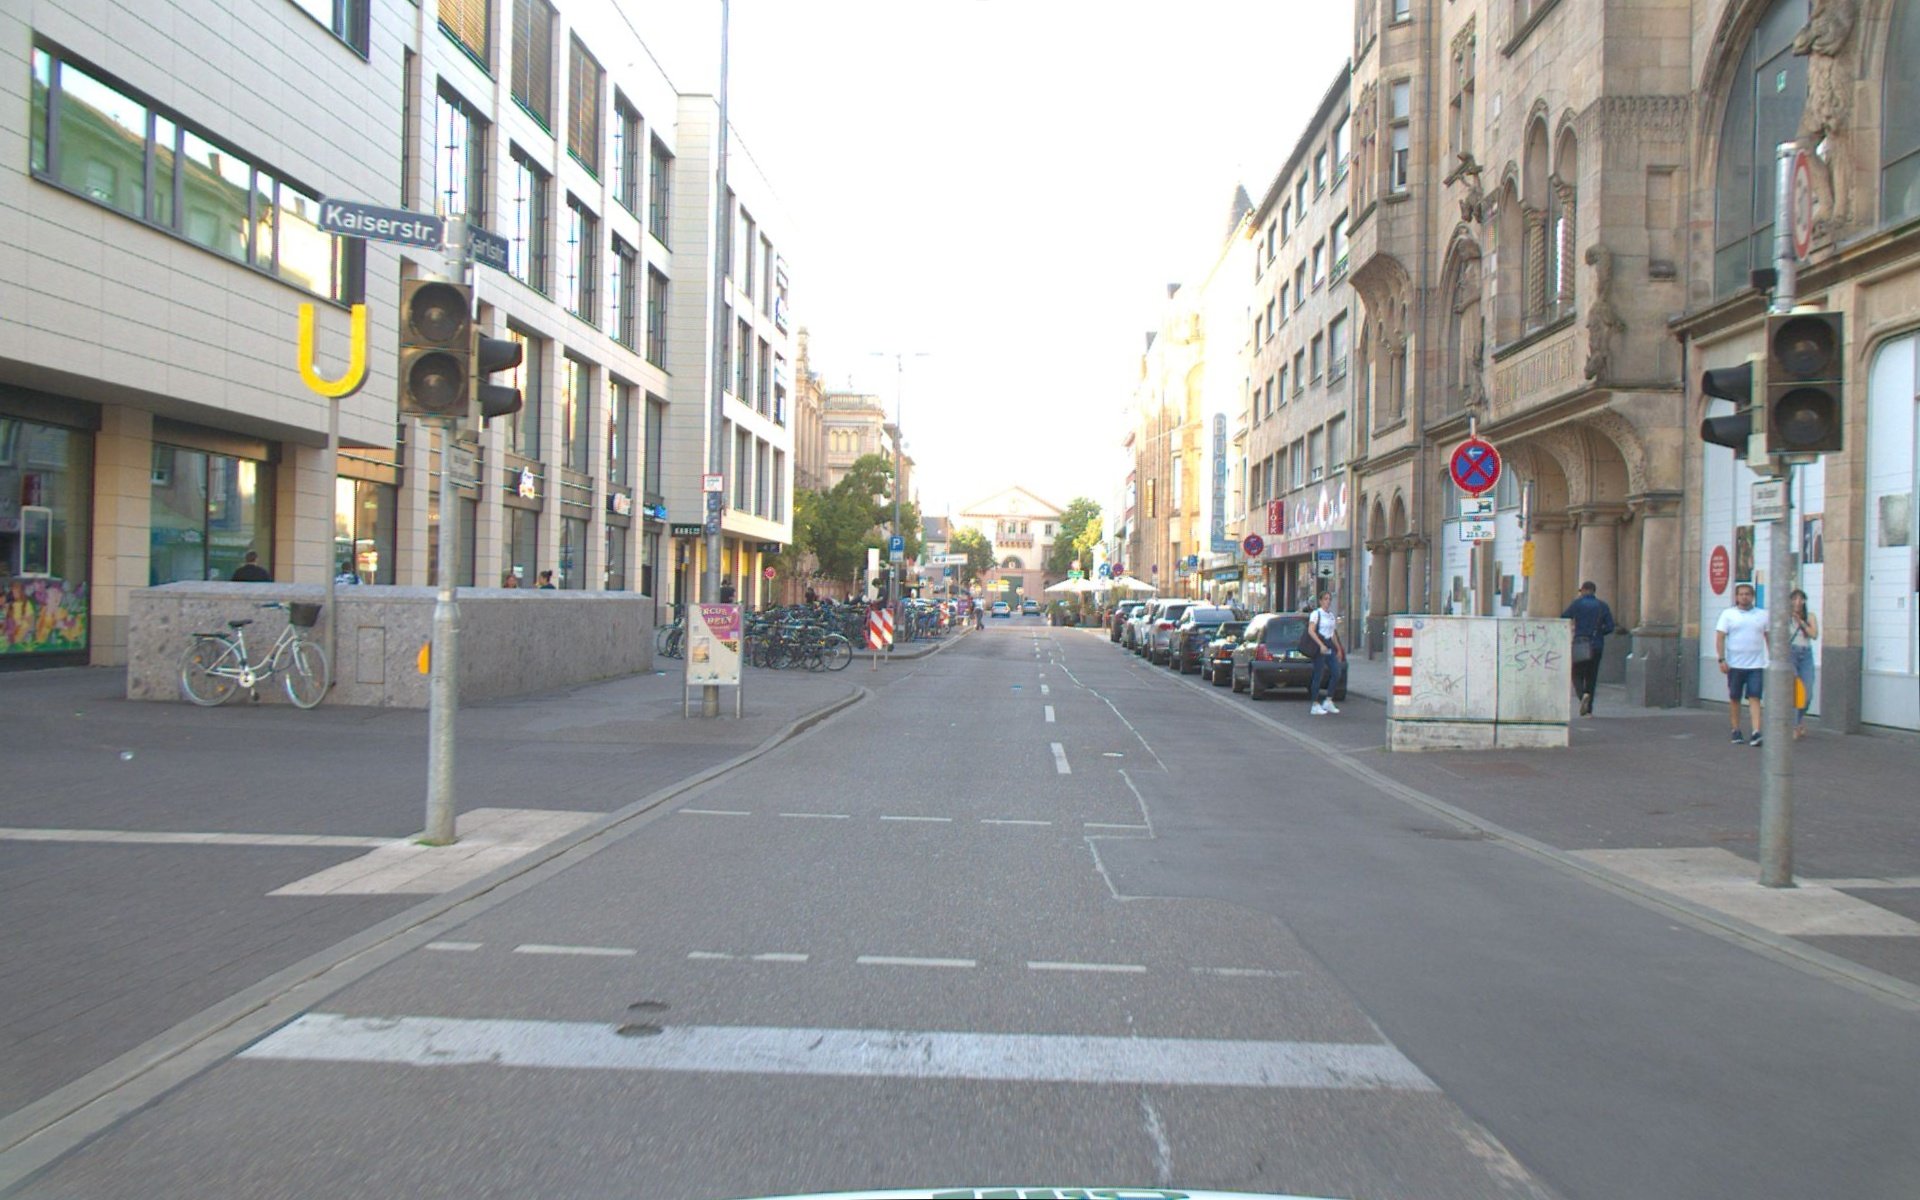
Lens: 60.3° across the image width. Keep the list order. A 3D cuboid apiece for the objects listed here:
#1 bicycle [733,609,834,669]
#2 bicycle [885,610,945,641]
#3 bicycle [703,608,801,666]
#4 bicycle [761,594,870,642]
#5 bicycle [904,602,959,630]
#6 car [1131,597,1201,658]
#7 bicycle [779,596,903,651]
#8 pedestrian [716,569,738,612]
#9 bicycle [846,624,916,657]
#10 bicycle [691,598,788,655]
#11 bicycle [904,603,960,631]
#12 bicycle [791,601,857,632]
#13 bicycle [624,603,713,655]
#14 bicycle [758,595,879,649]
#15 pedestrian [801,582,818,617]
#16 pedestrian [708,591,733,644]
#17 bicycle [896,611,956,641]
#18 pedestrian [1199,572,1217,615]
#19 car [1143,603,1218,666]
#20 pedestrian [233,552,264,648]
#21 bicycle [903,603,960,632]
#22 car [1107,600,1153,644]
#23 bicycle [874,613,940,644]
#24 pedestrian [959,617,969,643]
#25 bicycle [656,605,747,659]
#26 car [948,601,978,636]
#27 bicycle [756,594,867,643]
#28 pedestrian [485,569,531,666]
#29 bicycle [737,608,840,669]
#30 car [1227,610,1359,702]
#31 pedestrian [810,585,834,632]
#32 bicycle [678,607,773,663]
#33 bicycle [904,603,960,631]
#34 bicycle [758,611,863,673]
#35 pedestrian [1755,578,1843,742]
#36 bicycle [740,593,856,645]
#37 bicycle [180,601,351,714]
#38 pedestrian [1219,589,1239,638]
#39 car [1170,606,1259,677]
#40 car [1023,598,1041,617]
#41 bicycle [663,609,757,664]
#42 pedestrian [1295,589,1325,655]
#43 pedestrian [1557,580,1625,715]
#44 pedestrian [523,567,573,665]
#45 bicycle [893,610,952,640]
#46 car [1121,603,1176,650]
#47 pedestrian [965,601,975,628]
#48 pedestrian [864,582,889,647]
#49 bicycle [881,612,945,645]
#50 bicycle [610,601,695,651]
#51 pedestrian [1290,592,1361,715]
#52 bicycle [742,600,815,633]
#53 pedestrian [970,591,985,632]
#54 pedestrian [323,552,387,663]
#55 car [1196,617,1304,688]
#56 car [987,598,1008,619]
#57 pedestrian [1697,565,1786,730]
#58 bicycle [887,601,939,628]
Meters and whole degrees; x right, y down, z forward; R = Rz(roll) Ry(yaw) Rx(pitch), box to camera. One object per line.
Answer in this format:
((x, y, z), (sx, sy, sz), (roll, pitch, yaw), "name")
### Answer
((-3.599, 0.807, 33.796), (1.943, 1.141, 0.553), (3, 0, -27), "bicycle")
((-1.612, 0.929, 59.855), (2.103, 1.047, 0.641), (1, 0, 4), "bicycle")
((-4.354, 0.780, 34.705), (1.943, 1.141, 0.553), (3, 0, -27), "bicycle")
((-3.944, 0.498, 45.166), (2.849, 1.277, 0.798), (1, 0, -24), "bicycle")
((-1.112, 0.644, 65.497), (2.103, 1.047, 0.641), (1, 0, 4), "bicycle")
((6.336, 0.818, 51.184), (1.762, 1.799, 4.399), (0, 0, 2), "car")
((-2.824, 0.568, 39.400), (2.849, 1.277, 0.798), (1, 0, -24), "bicycle")
((-9.119, -0.373, 64.787), (0.716, 1.649, 0.661), (1, 0, 2), "pedestrian")
((-2.452, 1.248, 51.345), (2.103, 0.970, 0.641), (1, 0, 4), "bicycle")
((-4.717, 0.569, 35.362), (1.943, 1.141, 0.553), (3, 0, -27), "bicycle")
((-1.085, 0.648, 64.770), (2.103, 1.047, 0.641), (1, 0, 4), "bicycle")
((-4.501, 0.531, 54.823), (2.103, 0.970, 0.641), (1, 0, 4), "bicycle")
((-6.825, 0.685, 38.782), (1.943, 1.141, 0.553), (3, 0, -27), "bicycle")
((-3.461, 0.534, 40.508), (2.849, 1.277, 0.798), (1, 0, -24), "bicycle")
((-7.100, -0.024, 78.007), (0.665, 1.649, 0.574), (1, 0, 2), "pedestrian")
((-7.566, 0.547, 52.292), (0.665, 1.649, 0.574), (1, 0, 2), "pedestrian")
((-1.244, 0.945, 60.633), (2.103, 1.047, 0.641), (1, 0, 4), "bicycle")
((10.396, -0.254, 69.253), (0.630, 1.776, 0.671), (1, 0, 0), "pedestrian")
((5.966, 0.898, 45.087), (1.644, 1.641, 4.029), (0, 0, 2), "car")
((-11.547, -0.006, 26.832), (0.384, 1.541, 0.503), (1, 0, -19), "pedestrian")
((-1.088, 0.652, 62.963), (2.103, 1.047, 0.641), (1, 0, 4), "bicycle")
((6.879, 0.871, 67.214), (1.644, 1.695, 3.674), (0, 0, 2), "car")
((-1.737, 0.938, 54.743), (2.103, 0.970, 0.641), (1, 0, 4), "bicycle")
((0.253, 1.752, 96.749), (0.538, 1.512, 0.565), (1, 0, 0), "pedestrian")
((-5.883, 0.734, 37.698), (1.943, 1.141, 0.553), (3, 0, -27), "bicycle")
((0.229, 1.143, 102.056), (1.675, 2.049, 4.001), (1, 0, 2), "car")
((-3.969, 0.500, 44.192), (2.849, 1.277, 0.798), (1, 0, -24), "bicycle")
((-8.071, 0.309, 29.538), (0.587, 1.675, 0.546), (3, 0, -1), "pedestrian")
((-3.429, 0.769, 33.125), (1.943, 1.141, 0.553), (3, 0, -27), "bicycle")
((5.676, 0.913, 28.555), (1.644, 1.449, 3.674), (0, 0, 2), "car")
((-4.622, 0.277, 55.442), (0.736, 1.556, 0.485), (1, 0, 2), "pedestrian")
((-5.093, 0.765, 36.016), (1.943, 1.141, 0.553), (3, 0, -27), "bicycle")
((-1.069, 0.651, 63.733), (2.103, 1.047, 0.641), (1, 0, 4), "bicycle")
((-2.911, 0.822, 32.328), (1.943, 1.141, 0.553), (3, 0, -27), "bicycle")
((9.041, 0.635, 17.843), (0.612, 1.719, 0.626), (1, 0, 0), "pedestrian")
((-4.177, 0.494, 42.725), (2.849, 1.277, 0.798), (1, 0, -24), "bicycle")
((-7.611, 0.621, 18.156), (1.660, 1.141, 0.451), (3, 0, 5), "bicycle")
((10.260, 0.521, 63.003), (0.630, 1.831, 0.671), (1, 0, 0), "pedestrian")
((5.970, 0.948, 39.093), (1.644, 1.574, 3.674), (0, 0, 2), "car")
((7.934, 0.805, 182.753), (1.952, 1.937, 4.001), (3, 0, 2), "car")
((-5.522, 0.815, 36.570), (1.943, 1.141, 0.553), (3, 0, -27), "bicycle")
((9.261, 0.585, 43.806), (0.630, 1.719, 0.671), (1, 0, 0), "pedestrian")
((8.202, 0.607, 21.520), (0.612, 1.719, 0.671), (1, 0, 0), "pedestrian")
((-7.336, 0.279, 29.440), (0.667, 1.710, 0.600), (3, 0, -1), "pedestrian")
((-1.378, 0.936, 61.368), (2.103, 1.047, 0.641), (1, 0, 4), "bicycle")
((6.584, 0.916, 58.067), (1.644, 1.574, 3.674), (0, 0, 2), "car")
((0.566, 0.842, 95.570), (0.538, 1.512, 0.565), (1, 0, 0), "pedestrian")
((-2.412, 0.415, 47.713), (0.644, 1.855, 0.527), (1, 0, -8), "pedestrian")
((-1.577, 0.942, 55.649), (2.103, 1.047, 0.641), (1, 0, 4), "bicycle")
((-7.577, 0.644, 40.805), (1.943, 1.141, 0.553), (3, 0, -27), "bicycle")
((5.336, 0.774, 24.196), (0.818, 1.751, 0.681), (1, 0, -6), "pedestrian")
((-5.524, 0.494, 50.308), (2.103, 0.970, 0.641), (1, 0, 4), "bicycle")
((0.809, 0.529, 75.912), (0.586, 1.855, 0.452), (1, 0, 9), "pedestrian")
((-10.027, 0.118, 27.443), (0.766, 1.781, 0.600), (3, 0, -1), "pedestrian")
((5.878, 1.037, 33.910), (1.644, 1.313, 4.048), (0, 0, 2), "car")
((3.769, 0.803, 163.768), (1.952, 1.937, 4.001), (3, 0, 2), "car")
((8.331, 0.498, 17.645), (0.612, 1.719, 0.671), (1, 0, 0), "pedestrian")
((-1.942, 0.594, 68.811), (2.103, 1.047, 0.641), (1, 0, 4), "bicycle")
